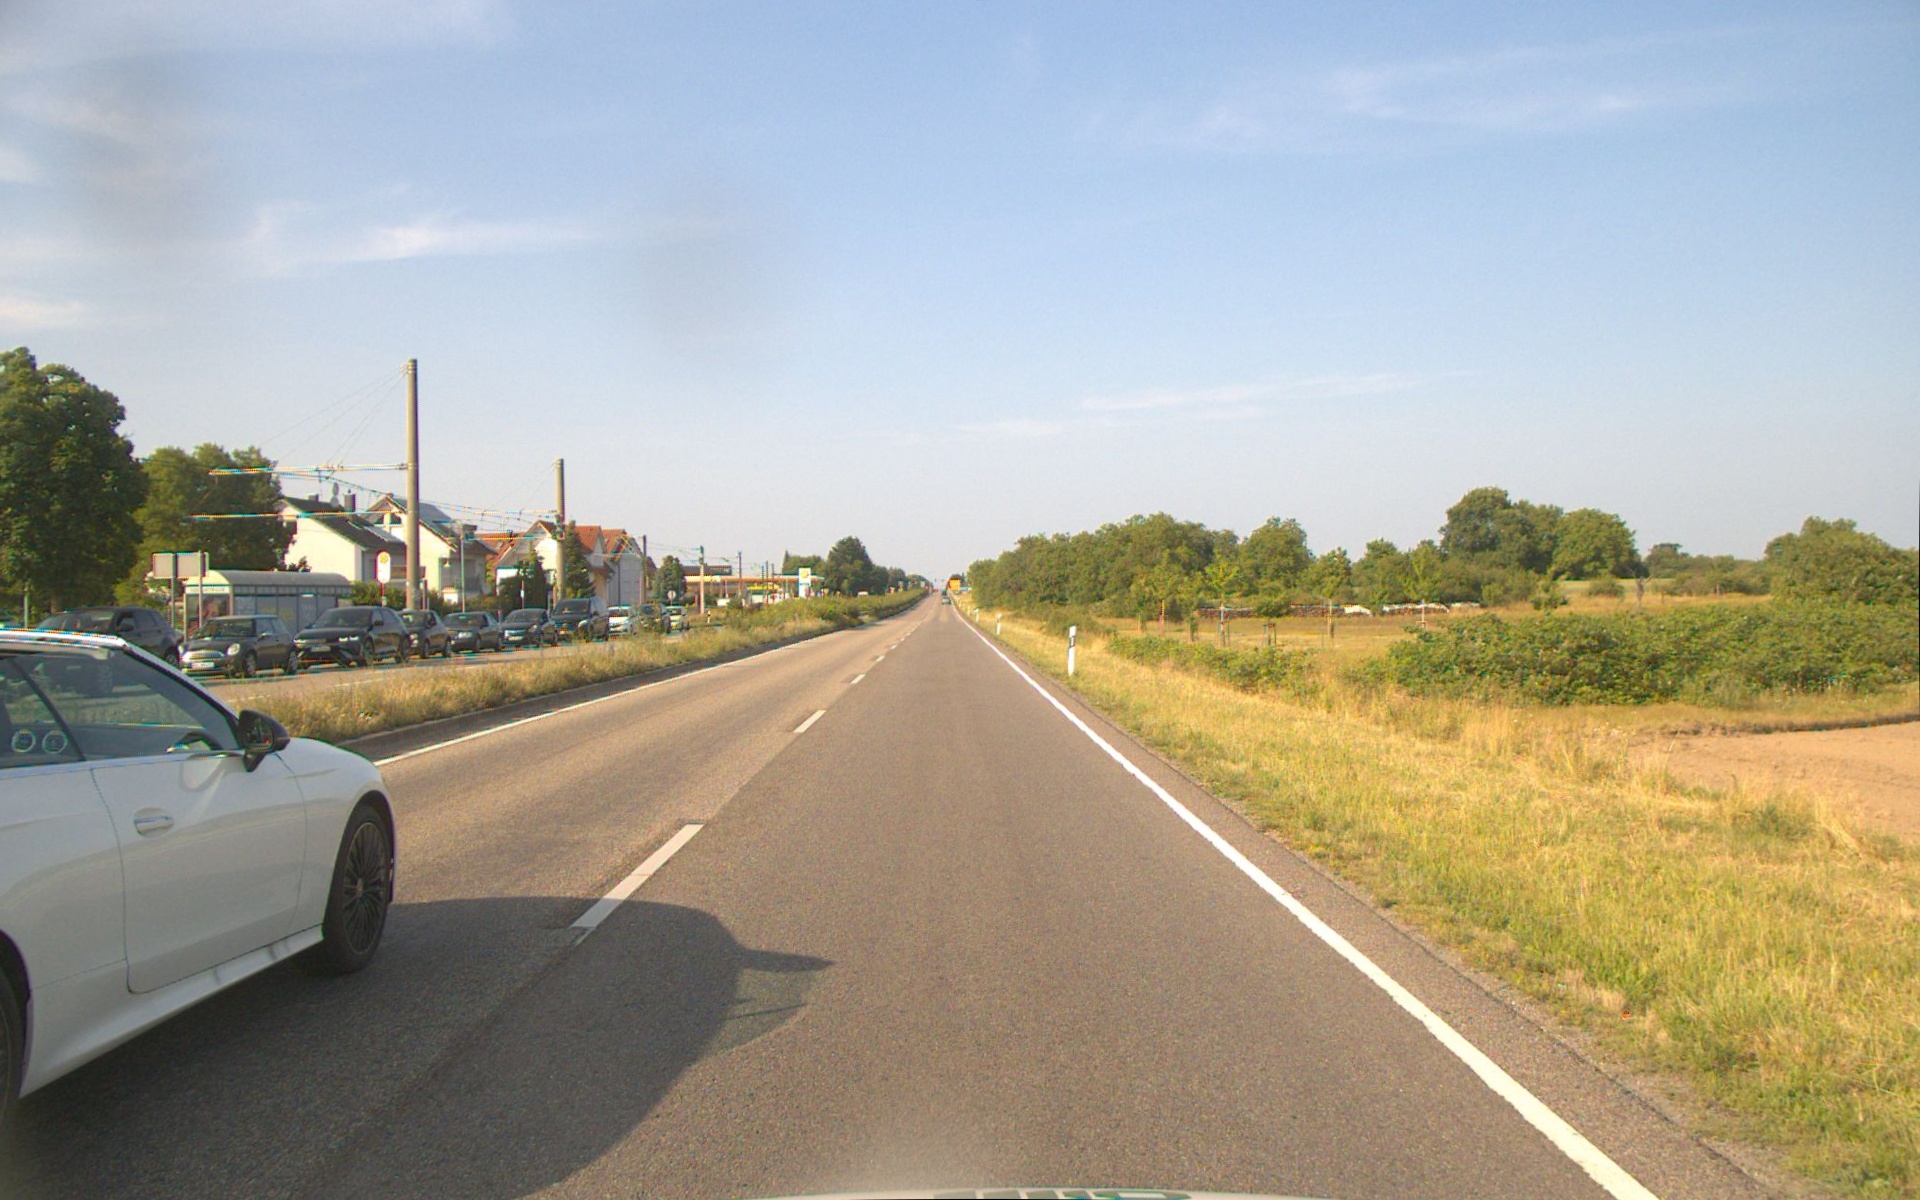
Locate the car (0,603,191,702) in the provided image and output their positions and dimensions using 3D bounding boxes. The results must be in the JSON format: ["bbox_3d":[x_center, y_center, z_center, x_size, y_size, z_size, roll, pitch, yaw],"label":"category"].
[{"bbox_3d":[-16.531,0.940,31.678,1.626,1.717,4.228,-2,0,-1],"label":"car"}]

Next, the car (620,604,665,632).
[{"bbox_3d":[-17.400,0.967,90.773,1.626,1.456,4.325,-2,0,-1],"label":"car"}]

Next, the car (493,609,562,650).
[{"bbox_3d":[-16.766,1.109,64.225,1.626,1.456,4.055,-2,0,-1],"label":"car"}]

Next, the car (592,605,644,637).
[{"bbox_3d":[-16.769,1.024,81.240,1.626,1.456,4.447,-2,0,-1],"label":"car"}]

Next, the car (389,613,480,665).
[{"bbox_3d":[-16.249,1.182,51.292,1.626,1.456,3.804,-2,0,-1],"label":"car"}]

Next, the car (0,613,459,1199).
[{"bbox_3d":[-3.150,0.751,5.039,1.735,1.361,4.949,1,0,0],"label":"car"}]

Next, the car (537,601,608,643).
[{"bbox_3d":[-16.886,0.926,72.330,1.876,1.712,5.252,-2,0,-1],"label":"car"}]

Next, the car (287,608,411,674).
[{"bbox_3d":[-16.243,1.058,44.216,1.626,1.590,4.545,-2,0,-1],"label":"car"}]

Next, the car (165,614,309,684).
[{"bbox_3d":[-16.525,1.086,37.983,1.626,1.456,3.804,-2,0,-1],"label":"car"}]

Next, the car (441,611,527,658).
[{"bbox_3d":[-16.526,1.171,57.646,1.626,1.456,4.716,-2,0,-1],"label":"car"}]

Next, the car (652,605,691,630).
[{"bbox_3d":[-17.454,1.035,100.209,1.626,1.456,4.325,-2,0,-1],"label":"car"}]

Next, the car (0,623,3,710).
[{"bbox_3d":[-16.152,1.090,24.231,1.626,1.405,4.540,-2,0,-1],"label":"car"}]
